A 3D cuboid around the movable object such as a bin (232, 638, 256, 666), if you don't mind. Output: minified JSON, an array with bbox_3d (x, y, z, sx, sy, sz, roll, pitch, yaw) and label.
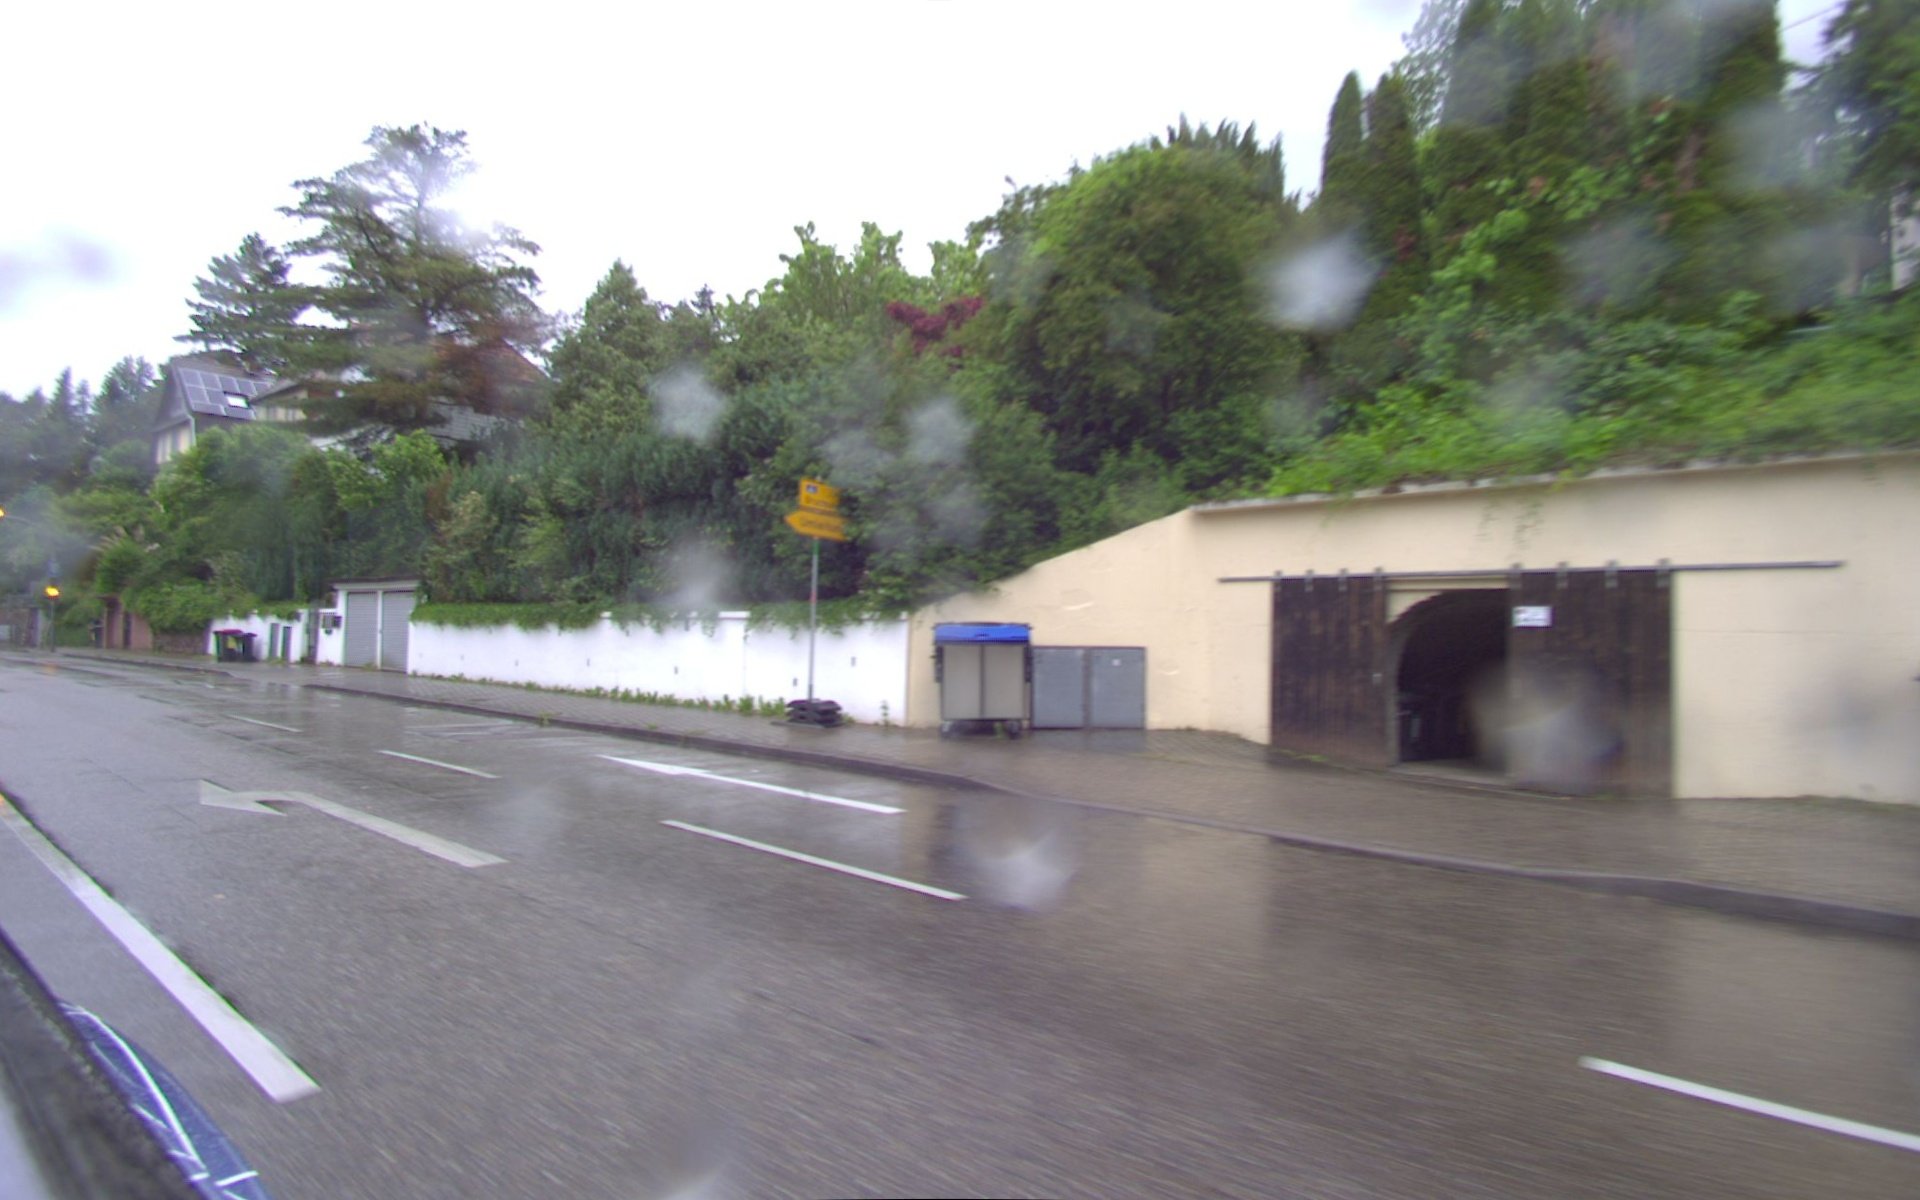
[{"bbox_3d":[-23.352,1.694,33.019,0.416,0.905,0.526,-1,-2,38],"label":"movable object such as a bin"}]

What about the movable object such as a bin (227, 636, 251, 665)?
[{"bbox_3d":[-23.734,1.652,33.330,0.416,0.947,0.537,-1,-2,38],"label":"movable object such as a bin"}]

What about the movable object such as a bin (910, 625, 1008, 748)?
[{"bbox_3d":[-0.012,1.070,12.938,0.861,1.456,0.923,0,1,40],"label":"movable object such as a bin"}]

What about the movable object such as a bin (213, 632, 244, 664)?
[{"bbox_3d":[-24.428,1.581,33.787,0.656,1.048,0.674,-1,-2,38],"label":"movable object such as a bin"}]
